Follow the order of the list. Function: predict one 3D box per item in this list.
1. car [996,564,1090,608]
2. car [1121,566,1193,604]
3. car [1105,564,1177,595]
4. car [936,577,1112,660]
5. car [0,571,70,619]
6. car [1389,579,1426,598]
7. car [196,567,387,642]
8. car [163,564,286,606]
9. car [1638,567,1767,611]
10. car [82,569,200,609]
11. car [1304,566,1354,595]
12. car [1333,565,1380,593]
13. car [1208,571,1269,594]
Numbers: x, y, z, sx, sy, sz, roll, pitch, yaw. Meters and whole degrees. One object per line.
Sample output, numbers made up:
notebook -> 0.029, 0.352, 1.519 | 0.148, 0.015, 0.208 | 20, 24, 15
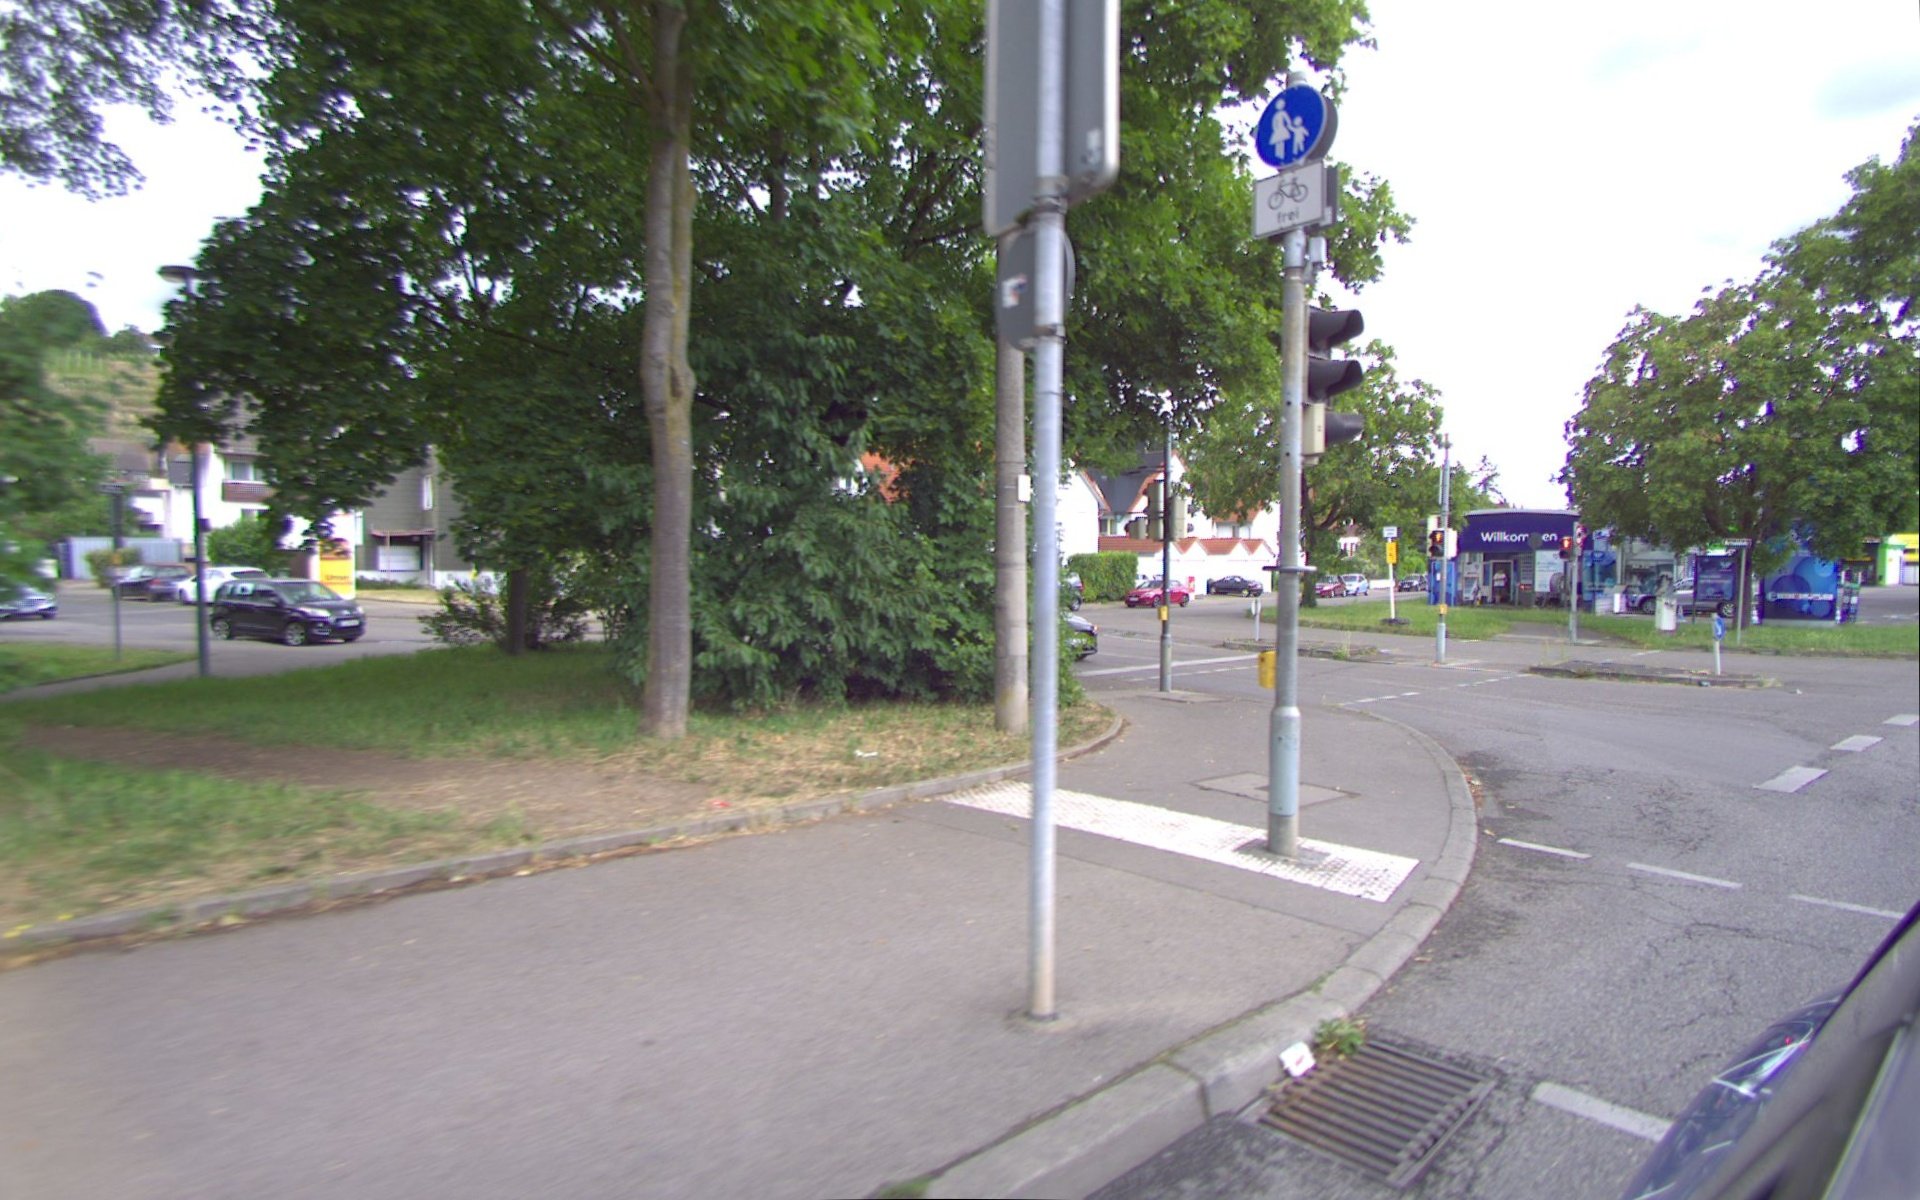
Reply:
car -> 3.752, -0.631, 45.132 | 4.335, 1.865, 1.718 | -2, 0, -44
car -> 9.969, -0.774, 51.126 | 3.858, 1.865, 1.617 | -2, 0, -43
car -> 10.644, -1.169, 59.726 | 3.801, 1.716, 1.889 | -1, 0, 45
car -> 1.279, 0.307, 22.044 | 1.672, 1.544, 4.168 | -1, 3, -33
car -> -30.912, -0.128, 32.208 | 4.410, 1.444, 1.988 | -1, 0, 19
car -> 37.947, -0.987, 85.764 | 1.989, 1.483, 3.945 | -1, 0, 38
car -> -17.178, 0.124, 26.073 | 3.942, 1.788, 1.991 | -1, 0, 15
car -> -28.198, -0.605, 38.805 | 3.950, 1.536, 1.987 | 1, 1, 20
car -> 31.269, -0.499, 42.792 | 4.180, 1.718, 1.820 | 3, 2, 32
car -> -33.154, -0.475, 40.991 | 3.950, 1.536, 1.987 | 1, 1, 20
car -> 24.521, -1.314, 67.256 | 1.937, 1.865, 4.195 | -1, 0, 38
car -> 28.012, -1.480, 71.422 | 1.937, 1.865, 4.406 | -1, 0, 38
car -> 18.488, -1.153, 67.170 | 1.744, 1.475, 3.555 | -1, 0, -39
